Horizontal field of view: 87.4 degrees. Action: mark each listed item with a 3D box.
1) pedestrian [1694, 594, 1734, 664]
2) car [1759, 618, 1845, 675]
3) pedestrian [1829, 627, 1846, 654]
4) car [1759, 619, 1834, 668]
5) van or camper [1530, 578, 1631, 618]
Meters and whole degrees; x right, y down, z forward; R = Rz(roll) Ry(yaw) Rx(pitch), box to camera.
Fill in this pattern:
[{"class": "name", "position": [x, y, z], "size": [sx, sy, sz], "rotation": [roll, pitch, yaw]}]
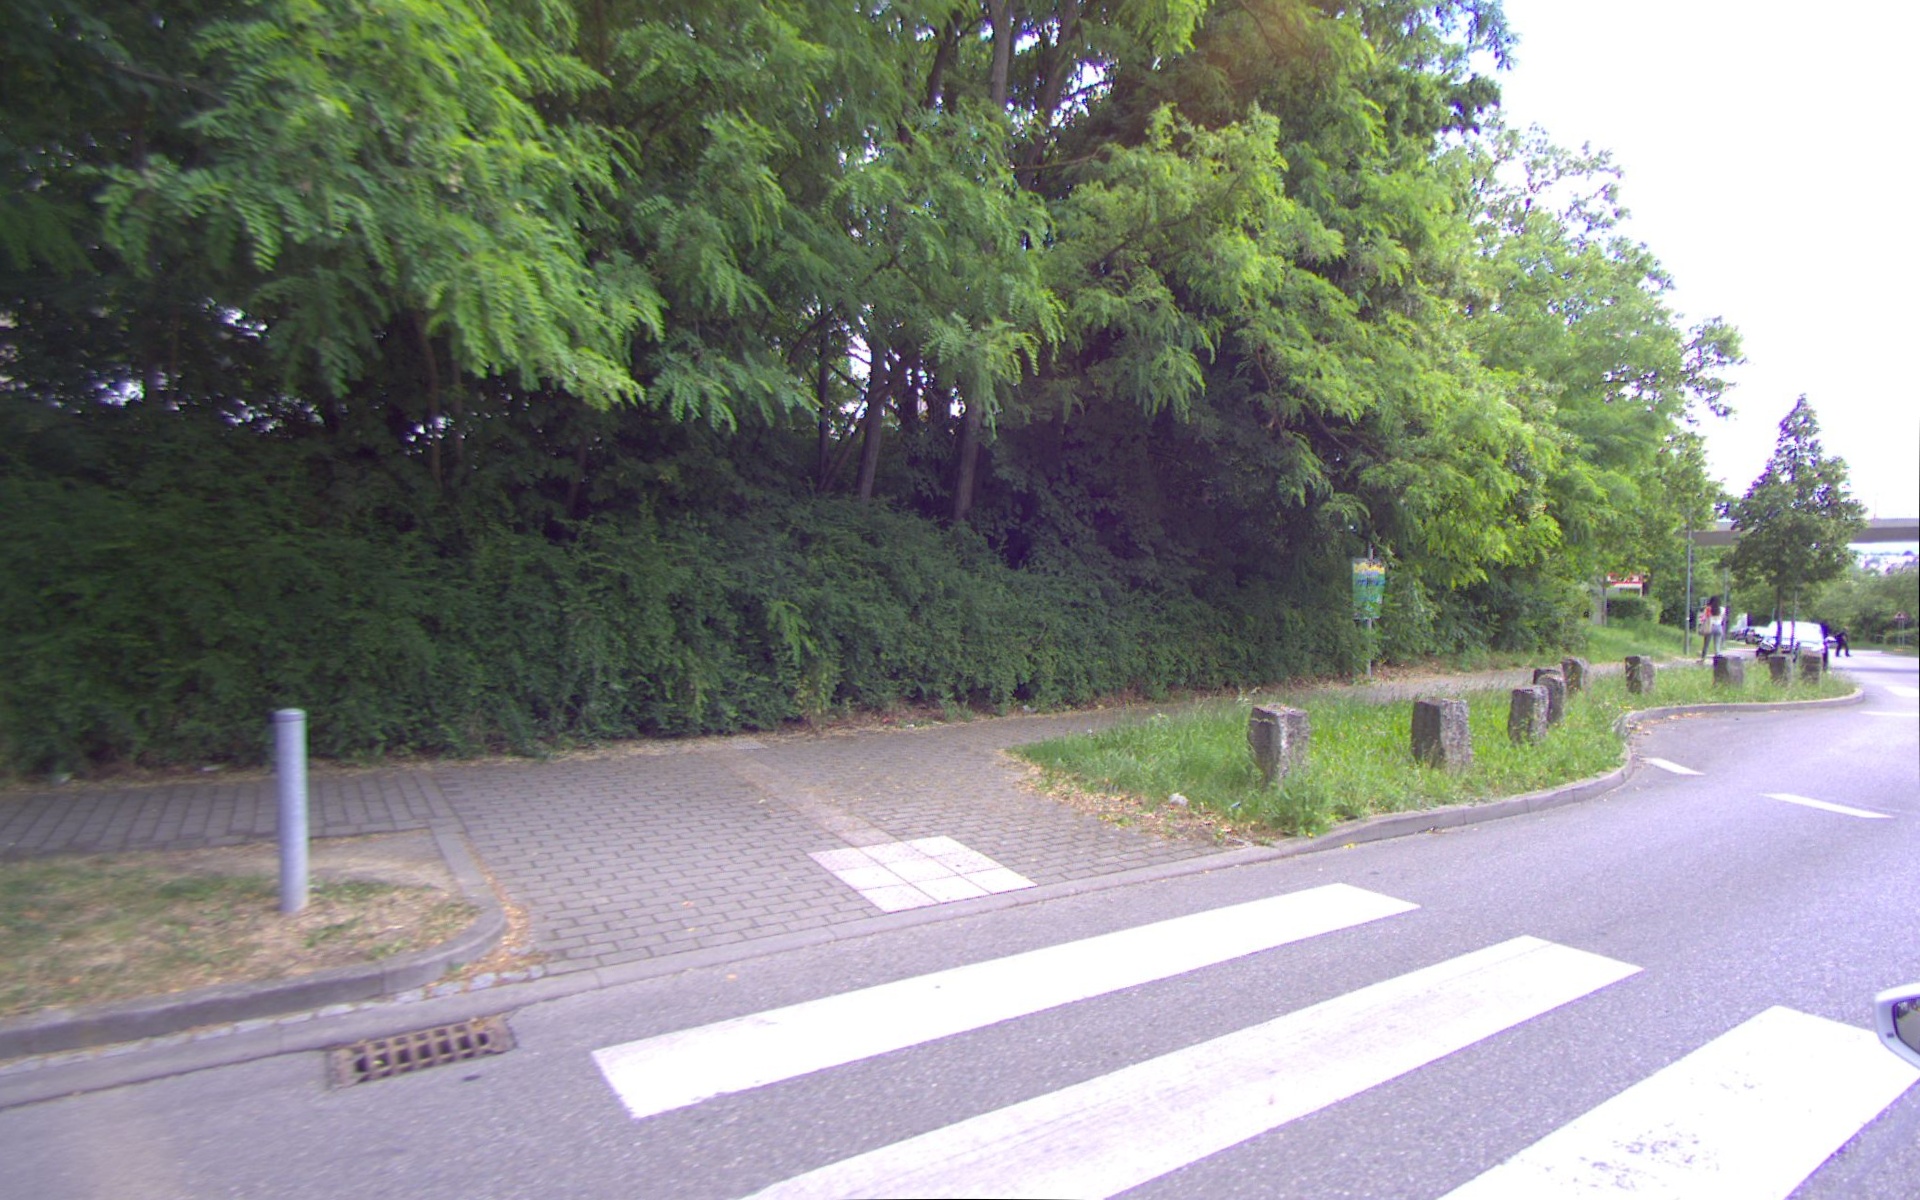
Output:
[{"class": "pedestrian", "position": [19.199, 0.731, 25.598], "size": [0.727, 1.745, 0.658], "rotation": [2, 2, 35]}, {"class": "car", "position": [25.312, 1.338, 30.308], "size": [1.763, 1.488, 3.984], "rotation": [2, 1, 37]}, {"class": "pedestrian", "position": [52.254, 2.408, 59.802], "size": [0.708, 1.562, 0.552], "rotation": [2, 2, 39]}, {"class": "car", "position": [28.536, 1.438, 34.262], "size": [1.863, 1.480, 3.528], "rotation": [2, 1, 41]}, {"class": "van or camper", "position": [35.710, -0.134, 57.861], "size": [4.790, 2.114, 1.993], "rotation": [2, 1, 36]}]
